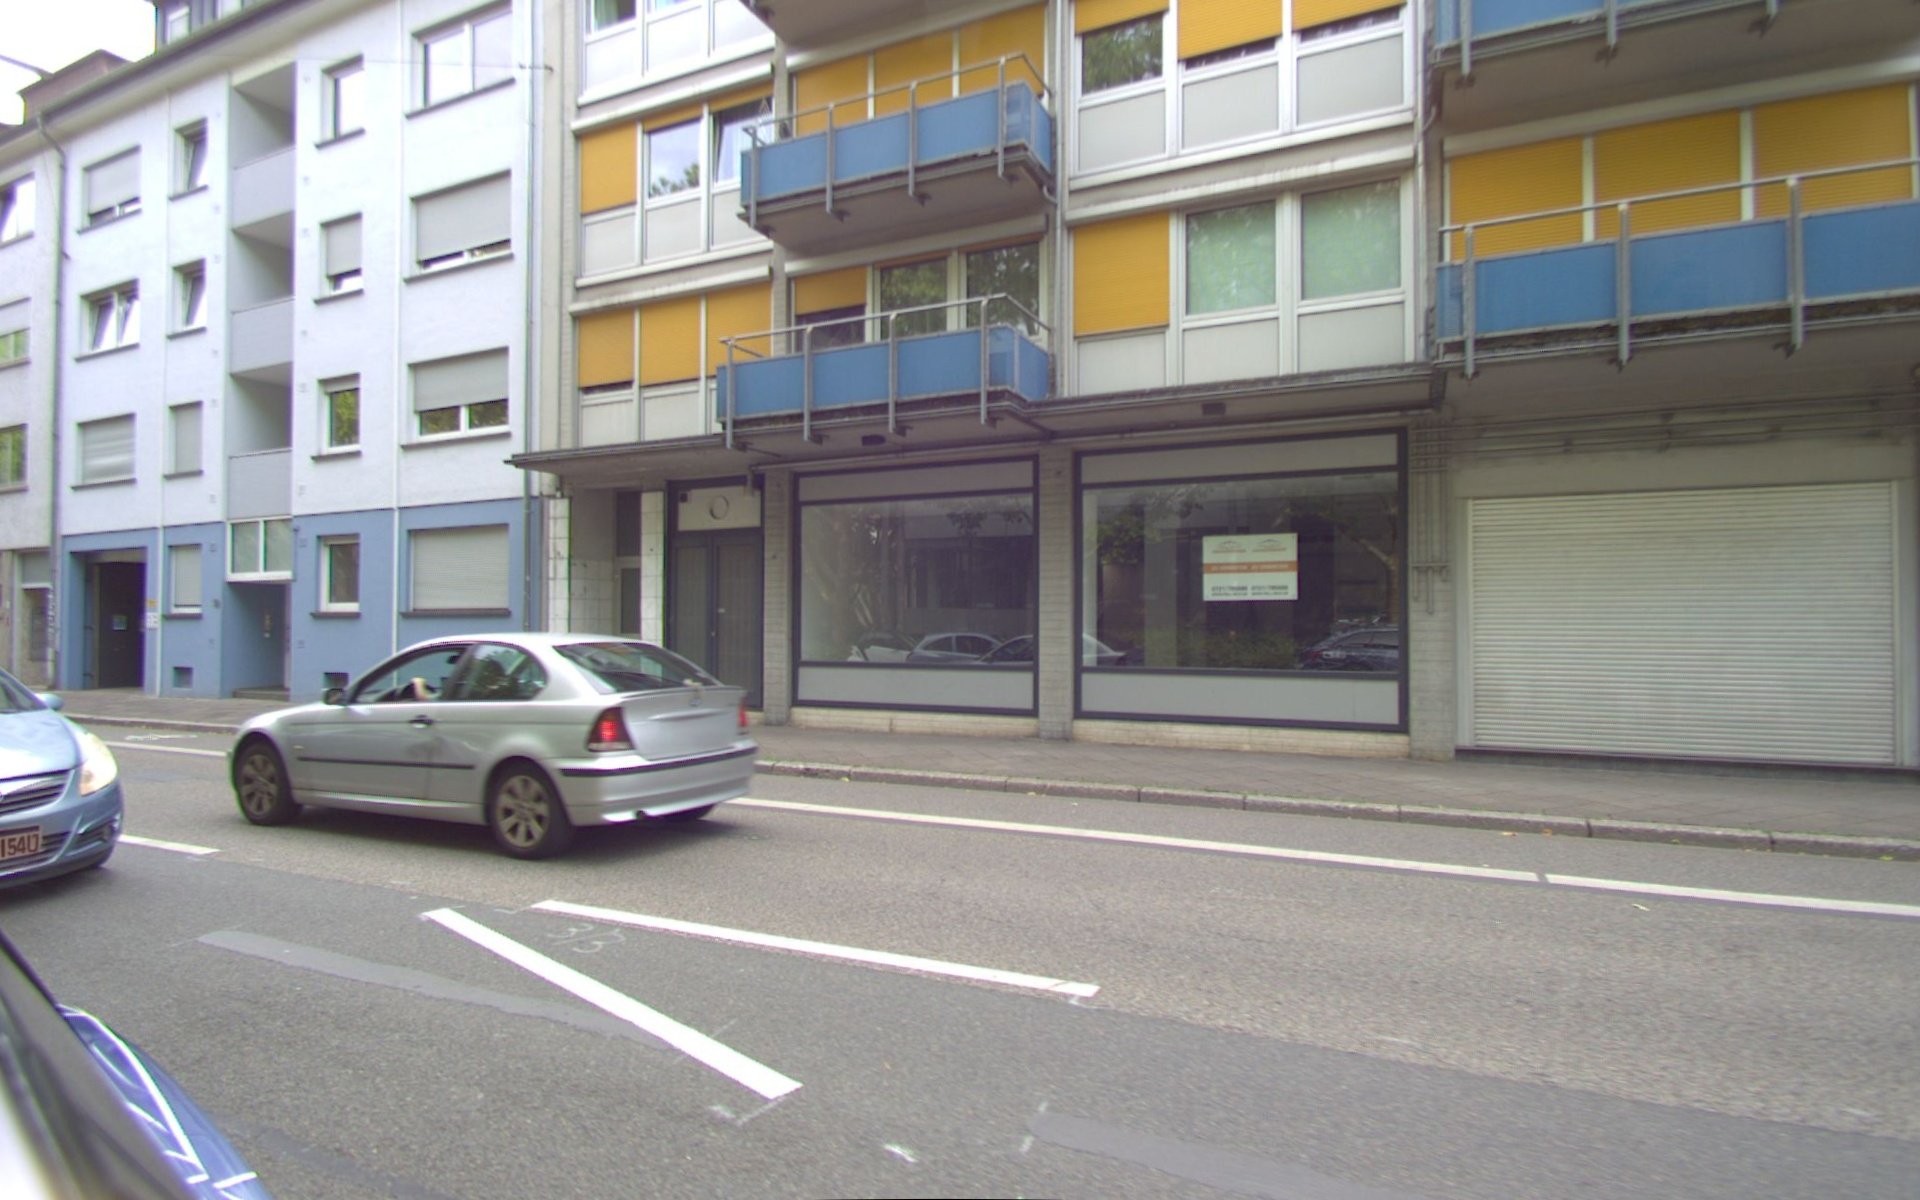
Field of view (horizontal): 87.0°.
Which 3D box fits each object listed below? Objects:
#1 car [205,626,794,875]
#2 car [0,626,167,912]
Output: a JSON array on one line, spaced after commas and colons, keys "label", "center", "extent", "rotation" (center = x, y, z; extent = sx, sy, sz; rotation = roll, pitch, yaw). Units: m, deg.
[{"label": "car", "center": [-3.434, 0.943, 7.525], "extent": [4.075, 1.438, 1.748], "rotation": [-1, -3, 25]}, {"label": "car", "center": [-6.785, 0.883, 5.884], "extent": [4.228, 1.431, 1.703], "rotation": [-1, -1, 25]}]
